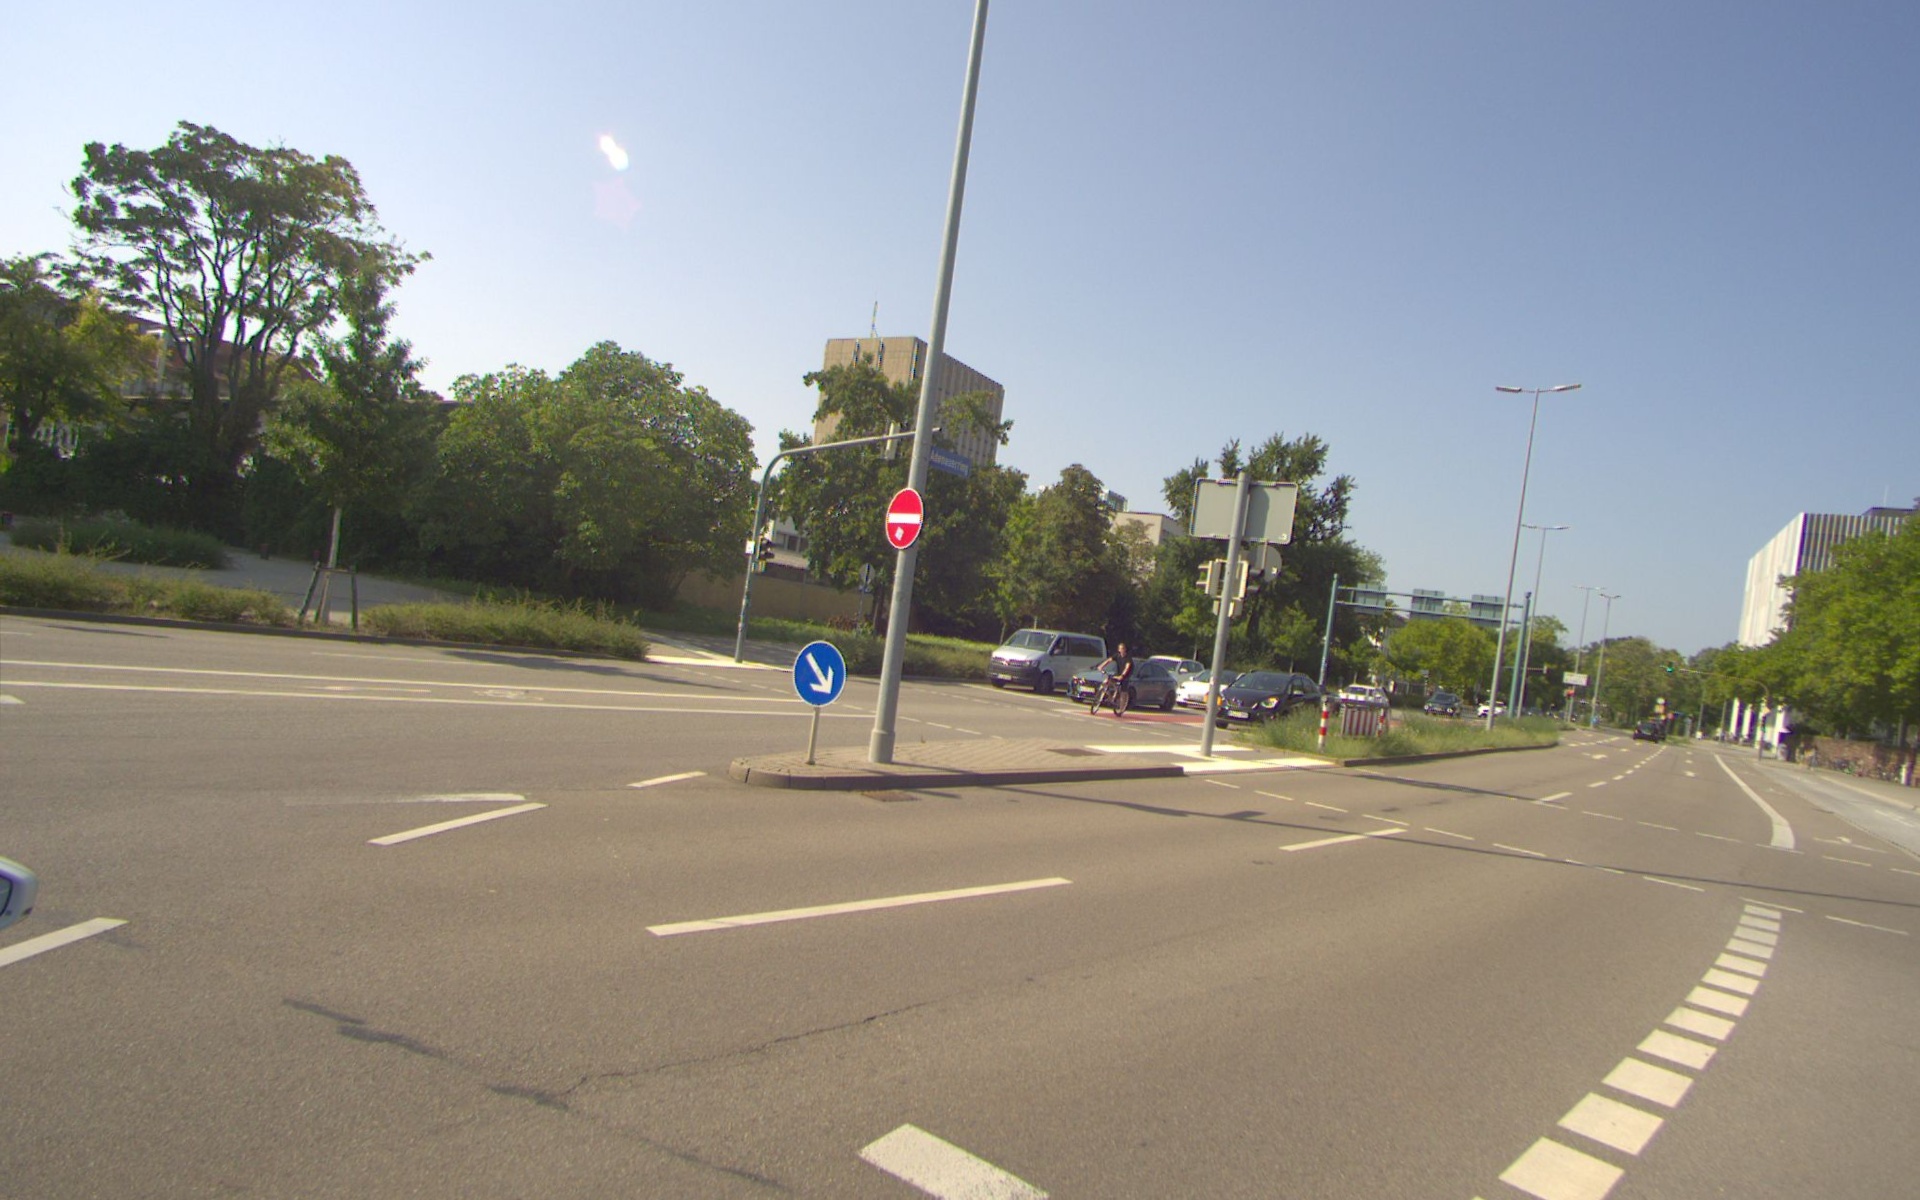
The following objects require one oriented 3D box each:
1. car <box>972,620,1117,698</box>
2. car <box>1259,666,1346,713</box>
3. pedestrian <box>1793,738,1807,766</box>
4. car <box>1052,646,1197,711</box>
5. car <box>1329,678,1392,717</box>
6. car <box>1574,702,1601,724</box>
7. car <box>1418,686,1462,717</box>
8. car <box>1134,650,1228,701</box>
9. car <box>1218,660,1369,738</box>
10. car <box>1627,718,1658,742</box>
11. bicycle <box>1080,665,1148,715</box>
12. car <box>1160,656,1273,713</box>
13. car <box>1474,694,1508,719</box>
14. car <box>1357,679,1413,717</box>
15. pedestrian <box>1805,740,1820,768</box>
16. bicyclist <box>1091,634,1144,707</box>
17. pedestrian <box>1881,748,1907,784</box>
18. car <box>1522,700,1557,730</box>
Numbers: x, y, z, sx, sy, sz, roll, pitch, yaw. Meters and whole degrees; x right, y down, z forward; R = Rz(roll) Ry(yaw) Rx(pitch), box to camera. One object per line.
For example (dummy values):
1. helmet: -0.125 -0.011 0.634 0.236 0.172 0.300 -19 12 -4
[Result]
1. car: 2.744 1.895 31.546 1.820 1.897 4.955 8 -1 40
2. car: 14.431 3.803 42.257 1.971 1.523 4.279 8 -1 39
3. pedestrian: 54.969 9.957 65.827 0.478 1.759 0.505 8 -2 32
4. car: 4.927 2.356 29.607 1.884 1.417 4.902 8 -1 40
5. car: 19.657 4.782 49.258 1.901 1.523 4.286 8 -1 33
6. car: 68.678 12.403 110.209 1.886 2.035 4.002 8 -3 27
7. car: 31.548 6.694 66.025 1.901 1.679 4.286 8 -1 33
8. car: 8.568 2.932 38.764 1.784 1.523 3.953 8 -1 40
9. car: 8.462 2.533 25.279 1.828 1.597 4.695 6 -2 41
10. car: 54.447 10.347 80.261 1.683 1.592 3.993 8 -1 32
11. bicycle: 3.751 2.207 24.429 0.758 1.065 1.769 8 0 37
12. car: 8.975 2.978 35.014 1.971 1.523 4.418 8 -1 40
13. car: 43.423 8.683 82.175 1.901 1.679 4.286 8 -1 33
14. car: 23.153 5.335 54.703 1.901 1.679 4.286 8 -1 33
15. pedestrian: 55.390 10.007 65.353 0.478 1.759 0.505 8 -2 32
16. bicyclist: 3.825 1.719 24.432 0.737 1.655 0.873 8 0 38
17. pedestrian: 56.292 9.992 60.631 0.728 1.975 0.933 8 -2 26
18. car: 37.820 7.480 65.627 1.683 1.592 3.993 8 -1 32
